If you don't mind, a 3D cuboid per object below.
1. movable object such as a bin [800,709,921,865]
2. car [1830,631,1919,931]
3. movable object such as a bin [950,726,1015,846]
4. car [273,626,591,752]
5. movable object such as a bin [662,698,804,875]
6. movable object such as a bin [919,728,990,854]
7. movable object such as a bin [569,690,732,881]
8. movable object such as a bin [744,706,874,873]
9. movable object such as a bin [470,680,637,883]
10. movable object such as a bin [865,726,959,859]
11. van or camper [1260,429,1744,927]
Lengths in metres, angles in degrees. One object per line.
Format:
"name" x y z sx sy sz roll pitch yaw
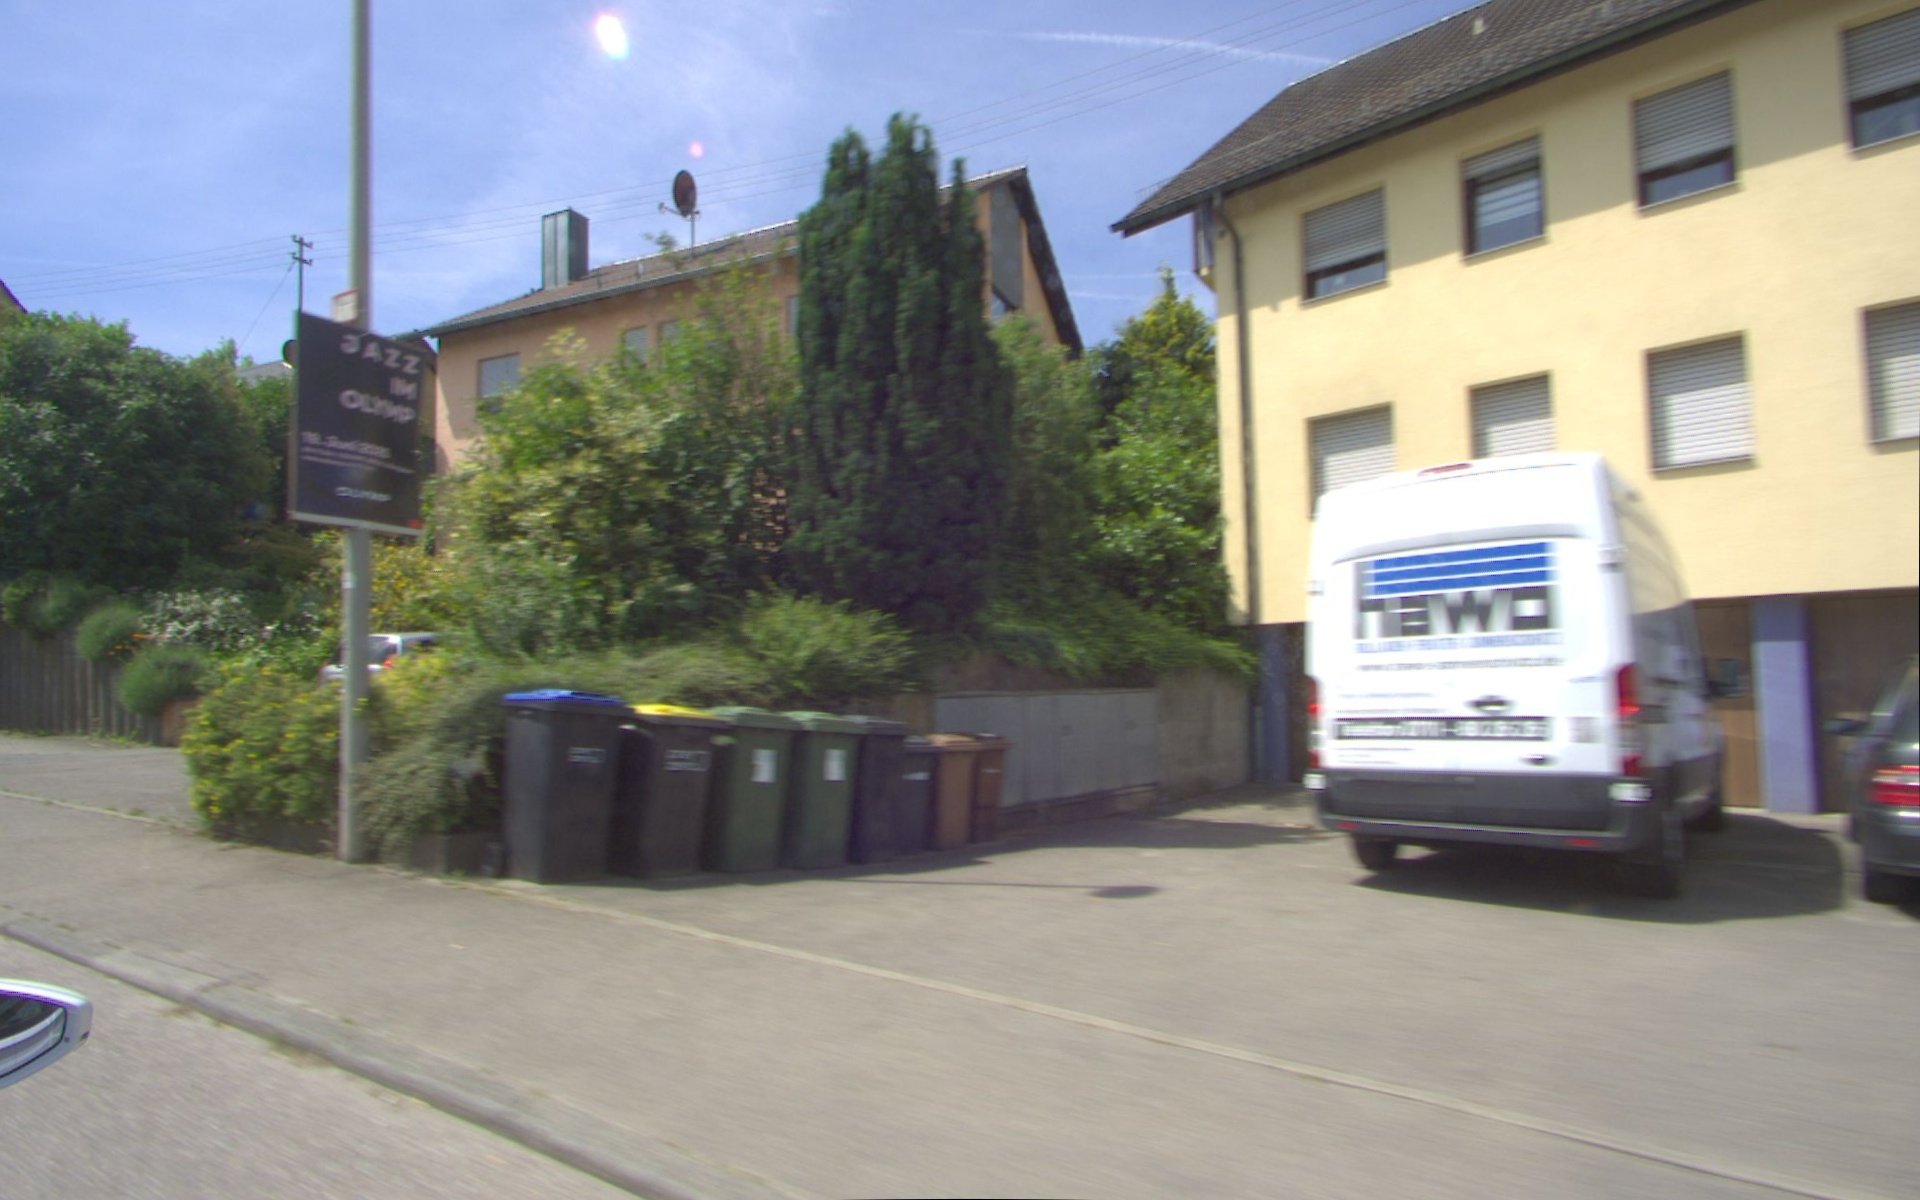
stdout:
"movable object such as a bin" -0.752 1.398 7.621 0.664 1.081 0.549 -1 -6 35
"car" 7.088 1.018 6.645 1.888 1.582 4.679 -4 -5 41
"movable object such as a bin" 0.200 1.619 8.815 0.403 0.983 0.398 -1 -4 34
"car" -7.301 1.225 14.259 1.806 1.517 3.649 0 -4 23
"movable object such as a bin" -1.523 1.227 6.739 0.664 1.080 0.549 -1 -8 35
"movable object such as a bin" -0.042 1.576 8.368 0.403 0.983 0.398 -1 -6 34
"movable object such as a bin" -1.944 1.138 6.308 0.758 1.080 0.549 -1 -7 35
"movable object such as a bin" -1.072 1.321 7.151 0.664 1.081 0.549 -1 -6 35
"movable object such as a bin" -2.381 1.038 5.883 0.650 1.080 0.549 -1 -8 35
"movable object such as a bin" -0.384 1.517 8.010 0.542 0.983 0.458 -1 -6 35
"van or camper" 4.649 0.668 8.105 2.260 2.677 5.206 -5 -7 41
